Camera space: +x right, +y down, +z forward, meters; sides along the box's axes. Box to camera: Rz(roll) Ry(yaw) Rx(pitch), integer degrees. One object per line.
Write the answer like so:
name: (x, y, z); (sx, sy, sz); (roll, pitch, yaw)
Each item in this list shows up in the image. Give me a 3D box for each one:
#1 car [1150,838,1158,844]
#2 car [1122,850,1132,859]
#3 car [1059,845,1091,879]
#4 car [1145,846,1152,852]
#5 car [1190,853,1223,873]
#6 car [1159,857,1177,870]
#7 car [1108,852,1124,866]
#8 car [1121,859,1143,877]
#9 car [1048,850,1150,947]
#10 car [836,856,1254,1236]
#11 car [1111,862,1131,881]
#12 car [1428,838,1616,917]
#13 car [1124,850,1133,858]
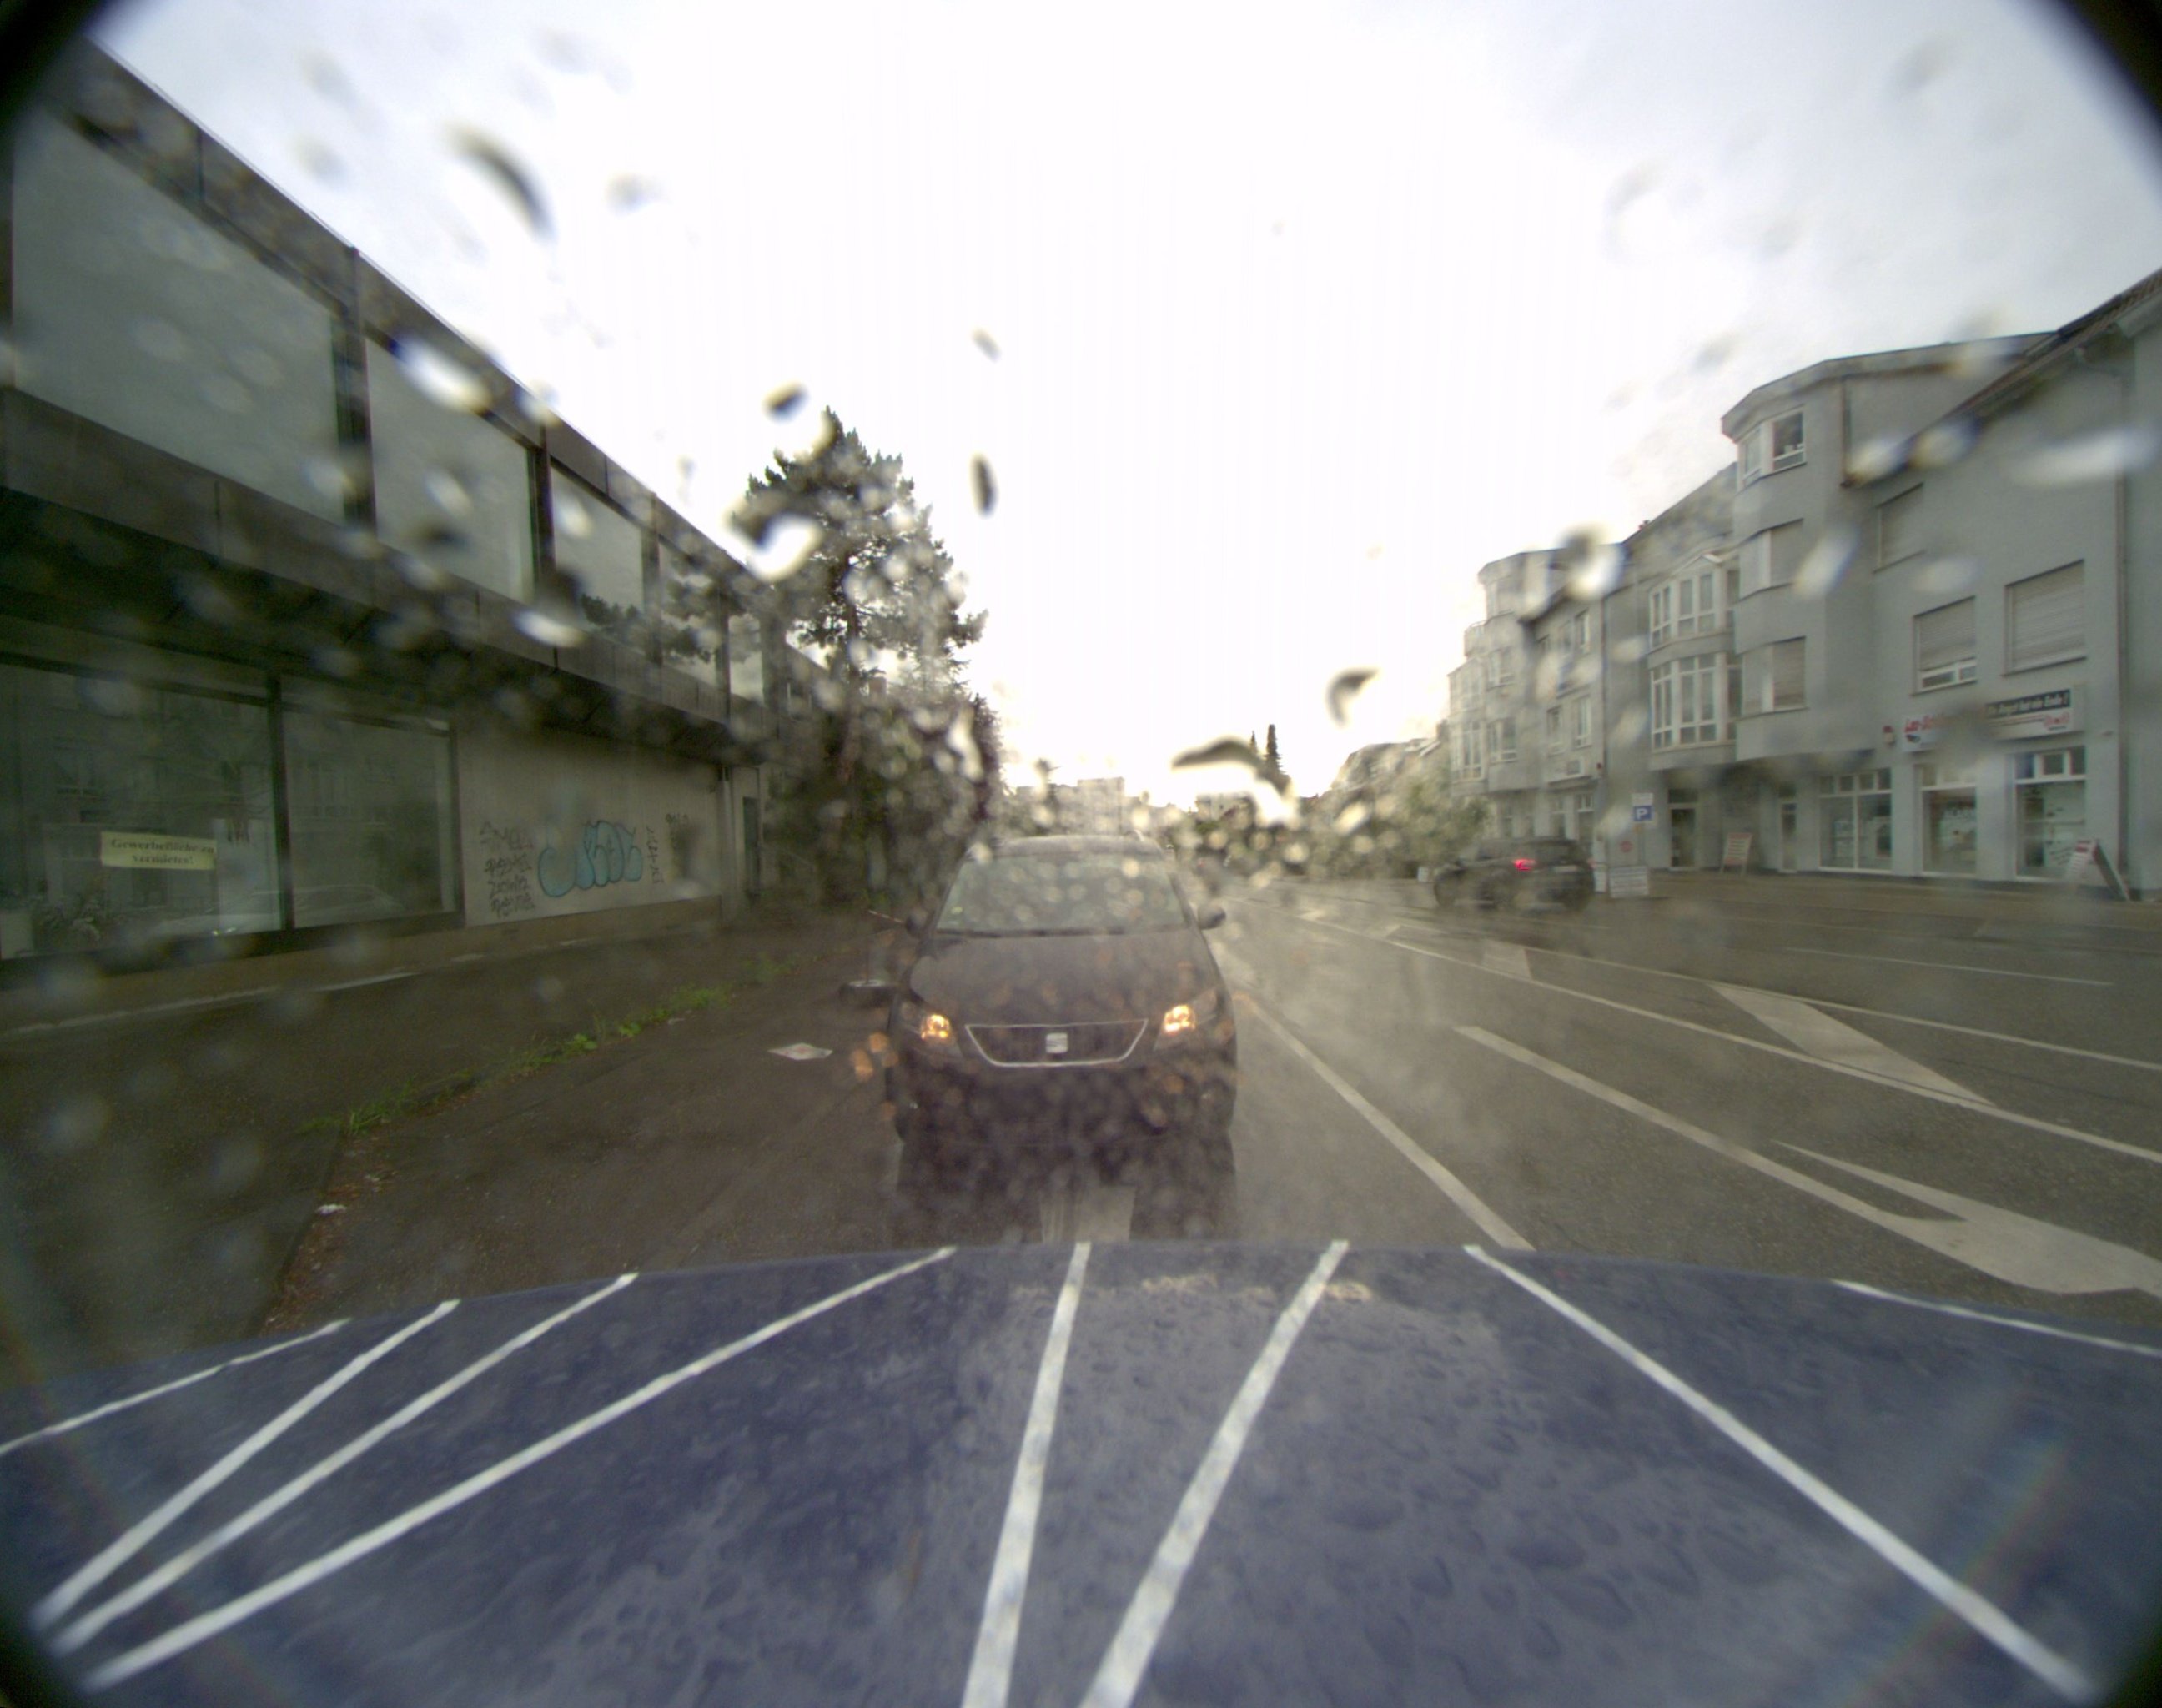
car: (23.301, -4.062, 241.710); (1.996, 1.808, 4.003); (-2, 1, 14)
car: (10.329, 0.056, 171.995); (1.998, 2.002, 3.999); (-2, 1, 1)
car: (-0.349, 0.467, 50.420); (1.998, 2.072, 3.999); (-2, 1, 1)
car: (18.984, -1.434, 214.811); (1.748, 1.664, 3.591); (-2, 1, 1)
car: (10.452, 0.690, 63.561); (1.972, 1.503, 3.999); (-2, 1, -2)
car: (11.677, 1.265, 102.200); (1.998, 1.615, 4.539); (-3, 0, 1)
car: (4.872, 0.645, 106.835); (1.998, 1.774, 3.999); (-2, 1, 1)
car: (5.266, 1.427, 79.122); (1.998, 1.723, 3.999); (-2, 1, 1)
car: (0.361, 0.802, 15.861); (1.803, 1.675, 3.999); (-2, 1, 1)
car: (-0.121, 0.834, 5.587); (1.754, 1.534, 4.676); (-1, 1, 1)
car: (3.595, 1.541, 68.925); (1.663, 1.584, 3.592); (-2, 0, 0)
car: (10.017, 0.491, 17.712); (1.884, 1.588, 4.184); (-1, 0, -1)
car: (11.724, 0.027, 188.403); (1.998, 1.808, 3.999); (-2, 1, 1)
